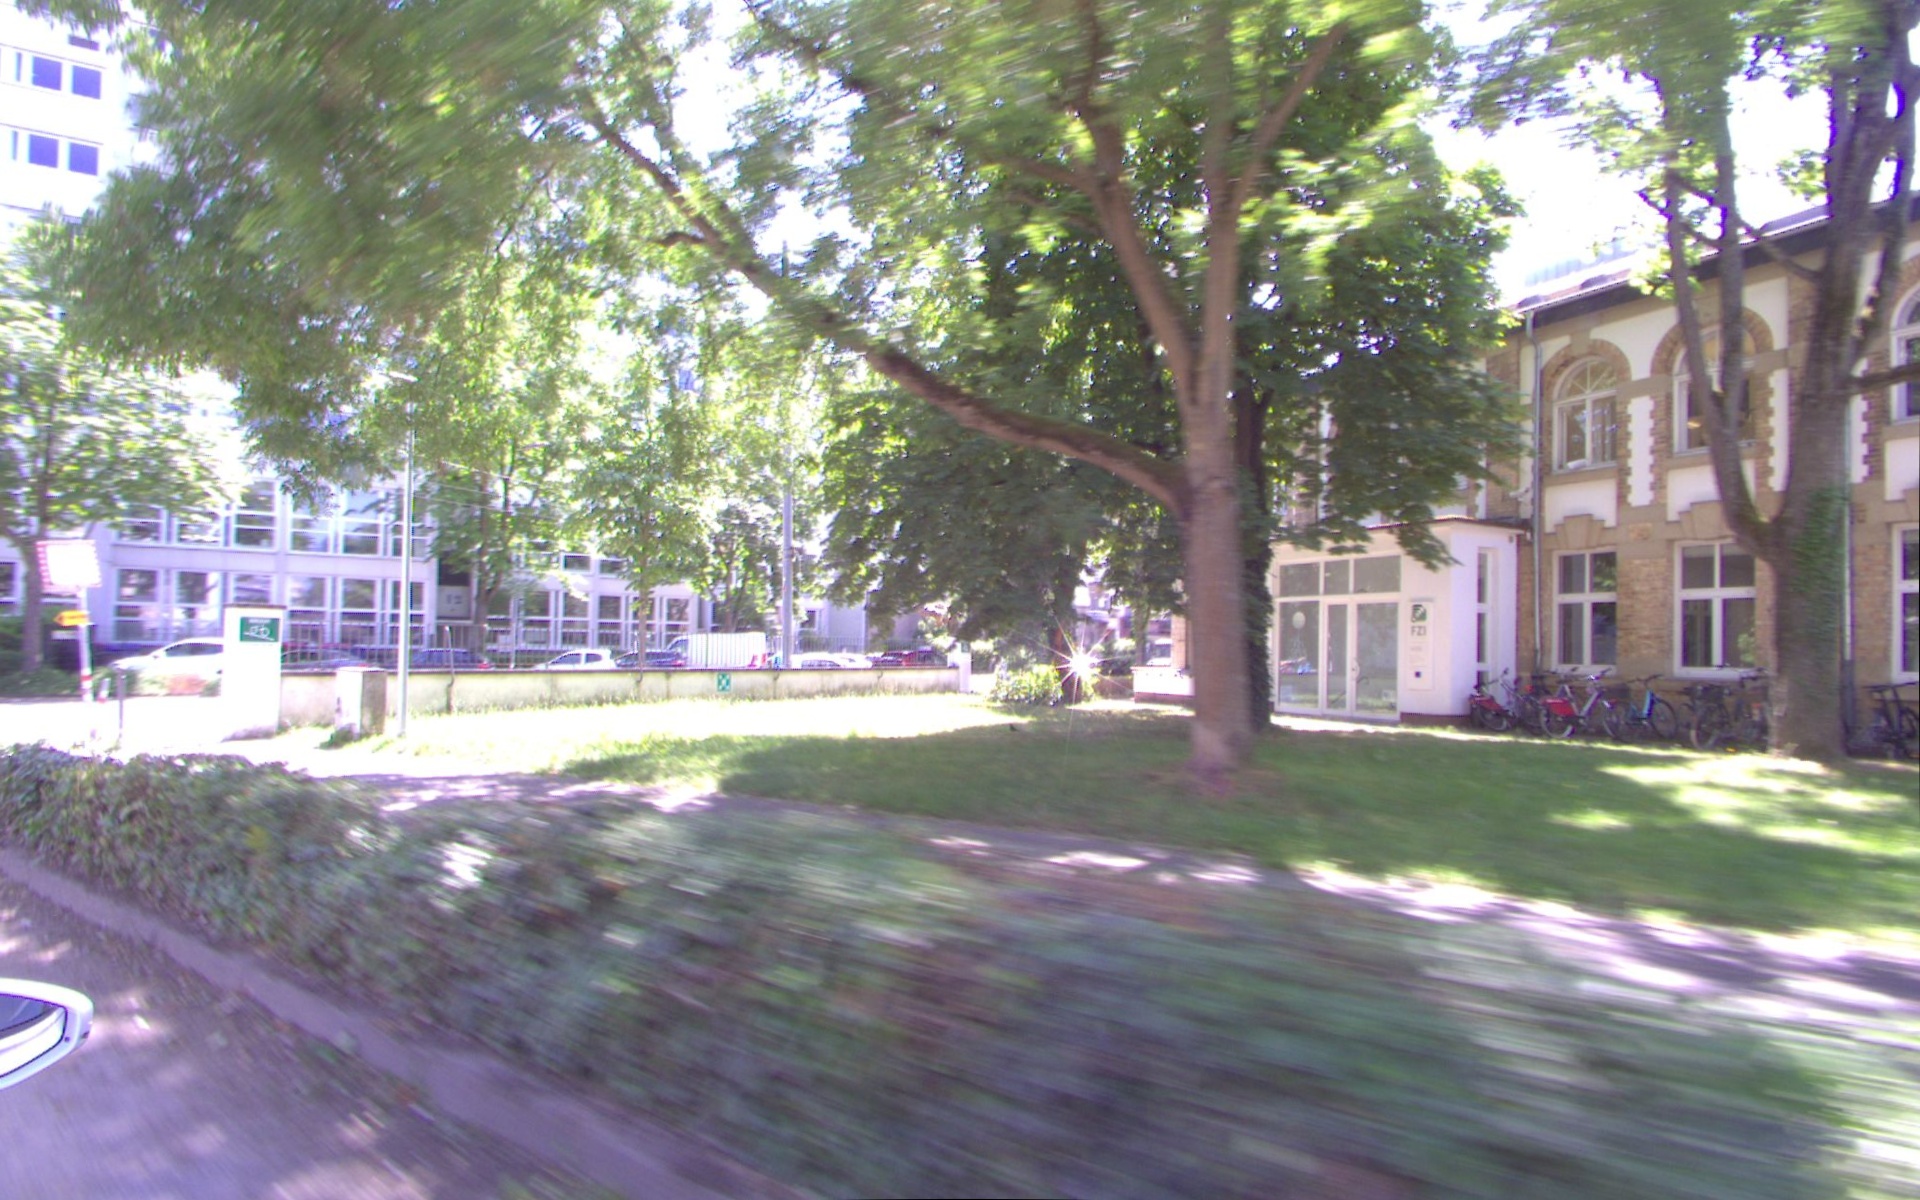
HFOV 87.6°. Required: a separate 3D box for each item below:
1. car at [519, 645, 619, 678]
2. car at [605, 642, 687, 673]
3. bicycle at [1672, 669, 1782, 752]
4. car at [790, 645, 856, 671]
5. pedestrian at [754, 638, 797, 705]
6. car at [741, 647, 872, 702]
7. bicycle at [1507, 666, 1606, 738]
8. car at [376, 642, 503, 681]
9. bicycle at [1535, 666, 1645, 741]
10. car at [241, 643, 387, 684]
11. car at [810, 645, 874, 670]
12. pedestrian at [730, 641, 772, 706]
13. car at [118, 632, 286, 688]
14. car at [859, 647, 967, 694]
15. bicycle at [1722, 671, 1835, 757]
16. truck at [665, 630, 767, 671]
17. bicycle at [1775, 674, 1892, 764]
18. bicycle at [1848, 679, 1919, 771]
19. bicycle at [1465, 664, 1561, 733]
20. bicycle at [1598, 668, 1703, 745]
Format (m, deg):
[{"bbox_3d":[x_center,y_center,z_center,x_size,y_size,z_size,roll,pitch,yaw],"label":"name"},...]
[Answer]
[{"bbox_3d":[-16.099,2.538,41.406,3.678,1.307,1.610,1,-2,-16],"label":"car"},{"bbox_3d":[-13.811,2.531,44.192,3.304,1.307,1.533,1,-2,-14],"label":"car"},{"bbox_3d":[11.438,1.620,14.930,1.814,1.157,0.587,2,-2,-27],"label":"bicycle"},{"bbox_3d":[-7.138,3.003,52.275,3.276,1.307,1.498,1,-2,-3],"label":"car"},{"bbox_3d":[-4.500,1.741,24.482,0.731,1.609,0.729,-3,-3,34],"label":"pedestrian"},{"bbox_3d":[-4.517,2.187,30.028,1.682,1.482,3.917,0,-3,34],"label":"car"},{"bbox_3d":[10.149,1.716,17.034,1.814,1.157,0.587,2,-2,-27],"label":"bicycle"},{"bbox_3d":[-18.627,2.200,35.979,3.673,1.321,1.612,1,-2,-7],"label":"car"},{"bbox_3d":[10.258,1.670,16.300,1.812,1.157,0.588,2,-2,-23],"label":"bicycle"},{"bbox_3d":[-21.218,2.086,33.025,3.674,1.297,1.612,1,-2,-8],"label":"car"},{"bbox_3d":[-6.469,3.151,55.102,3.275,1.307,1.499,1,-2,1],"label":"car"},{"bbox_3d":[-5.302,1.855,25.418,0.731,1.609,0.728,-3,-3,36],"label":"pedestrian"},{"bbox_3d":[-22.923,1.822,30.427,3.677,1.640,1.611,1,-2,-14],"label":"car"},{"bbox_3d":[-1.552,2.361,34.173,1.682,1.482,3.917,0,-3,34],"label":"car"},{"bbox_3d":[11.750,1.613,14.364,1.814,1.157,0.587,2,-2,-27],"label":"bicycle"},{"bbox_3d":[-11.381,2.341,46.884,4.560,1.856,1.655,1,-2,-14],"label":"truck"},{"bbox_3d":[12.048,1.605,13.802,1.814,1.157,0.587,2,-2,-27],"label":"bicycle"},{"bbox_3d":[12.364,1.600,13.089,1.814,1.114,0.521,2,-2,-27],"label":"bicycle"},{"bbox_3d":[9.772,1.714,17.678,1.814,1.157,0.587,2,-2,-27],"label":"bicycle"},{"bbox_3d":[10.948,1.665,15.859,1.814,1.157,0.587,2,-2,-27],"label":"bicycle"}]
